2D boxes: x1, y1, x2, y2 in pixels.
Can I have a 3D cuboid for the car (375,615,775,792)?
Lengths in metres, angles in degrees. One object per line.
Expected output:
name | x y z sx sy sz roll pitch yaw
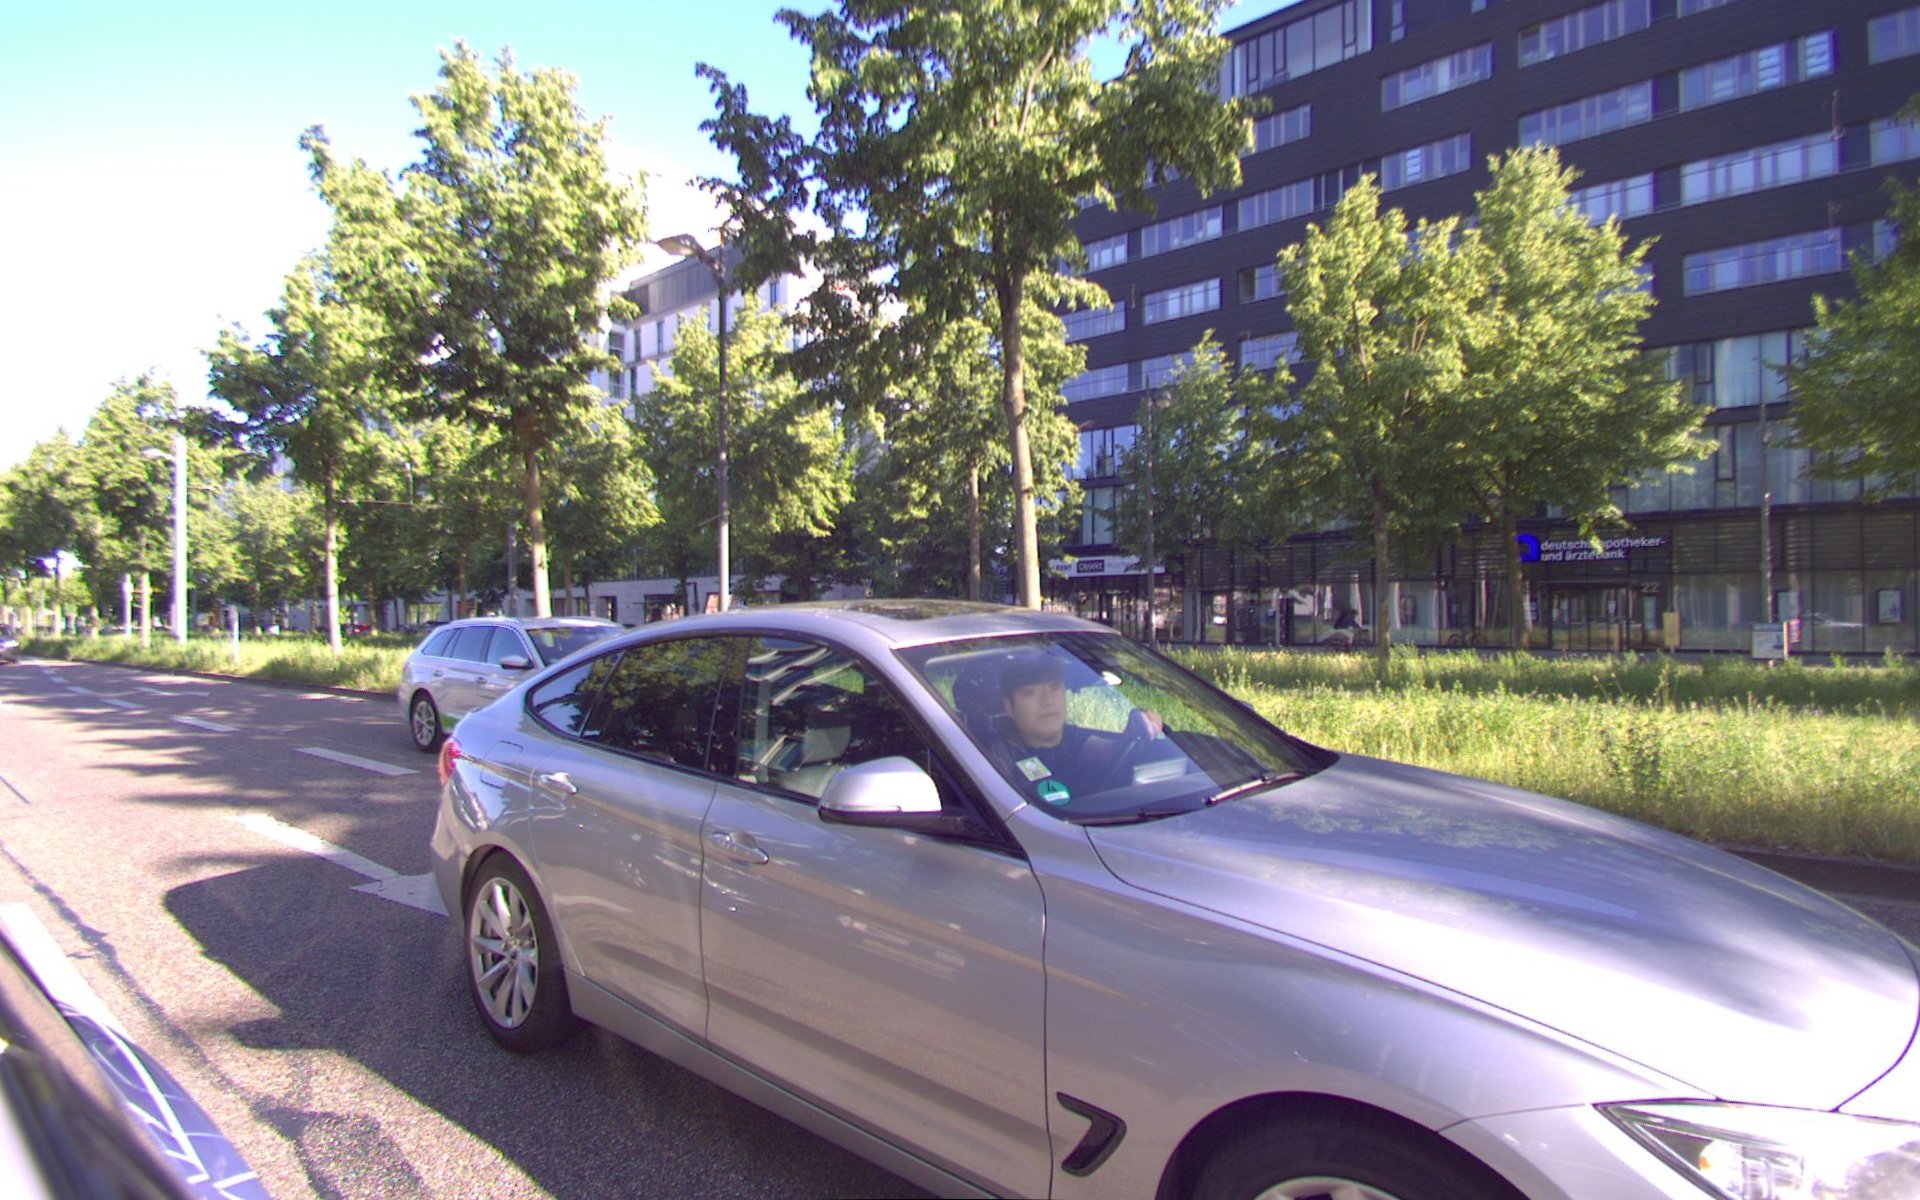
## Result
car | -4.140 0.914 10.519 4.561 1.458 1.782 -1 -1 38

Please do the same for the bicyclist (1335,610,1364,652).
bicyclist | 13.729 1.088 35.677 0.820 1.435 0.472 -2 -2 41

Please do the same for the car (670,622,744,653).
car | -13.913 2.041 55.642 4.182 1.609 1.926 -2 -1 41

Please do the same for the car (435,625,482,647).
car | -38.662 2.758 77.965 4.182 1.609 1.859 -2 -1 41

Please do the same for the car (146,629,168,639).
car | -114.618 4.854 144.486 4.001 1.406 1.971 -2 -2 44

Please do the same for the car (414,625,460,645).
car | -42.124 2.805 81.471 4.182 1.609 1.859 -2 -1 41

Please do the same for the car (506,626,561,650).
car | -29.721 2.610 70.458 4.182 1.609 1.859 -2 -1 41

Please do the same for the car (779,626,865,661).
car | -6.759 2.090 49.379 4.182 1.609 1.926 -2 -1 41

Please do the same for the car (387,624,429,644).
car | -46.579 2.876 85.367 4.182 1.609 1.859 -2 -1 41

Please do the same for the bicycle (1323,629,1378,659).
bicycle | 13.755 1.545 35.659 1.755 1.043 0.472 -1 -2 41

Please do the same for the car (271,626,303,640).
car | -72.524 3.529 109.053 3.998 1.406 1.972 -2 -2 41

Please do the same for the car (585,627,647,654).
car | -21.467 2.479 63.045 4.182 1.609 1.859 -2 -1 41

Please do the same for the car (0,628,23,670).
car | -36.218 1.810 37.478 3.998 1.502 1.837 -1 -1 41

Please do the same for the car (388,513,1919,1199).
car | 0.172 0.696 2.991 4.558 1.495 1.800 -1 -1 40

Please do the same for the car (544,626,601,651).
car | -25.692 2.544 67.046 4.182 1.609 1.859 -2 -1 41

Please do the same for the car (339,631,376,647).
car | -55.232 3.563 92.746 4.001 1.406 1.971 -2 -2 44
